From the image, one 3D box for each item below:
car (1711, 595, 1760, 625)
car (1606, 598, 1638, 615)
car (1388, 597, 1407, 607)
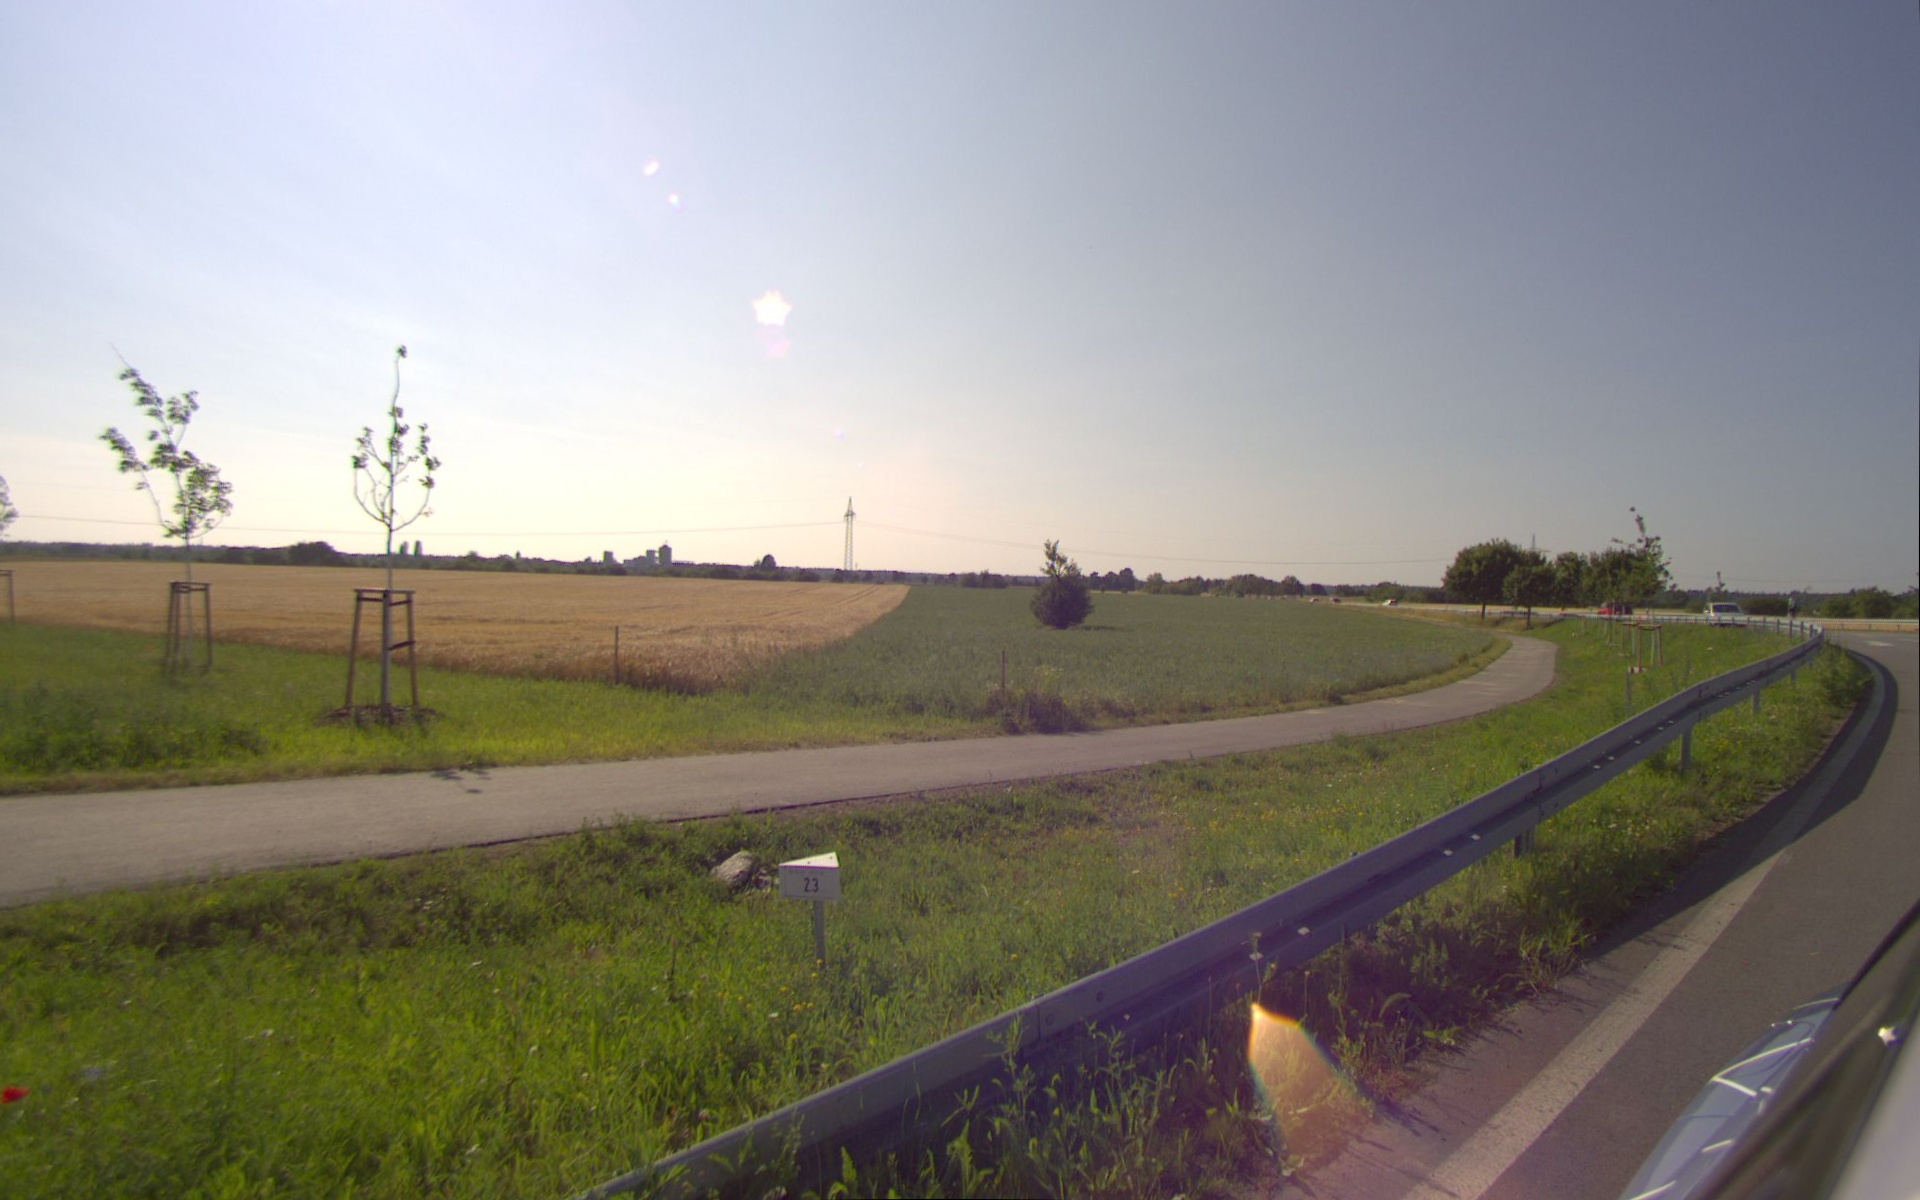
[{"bbox_3d":[46.879,0.563,61.253,1.741,1.716,4.170,-1,0,30],"label":"car"},{"bbox_3d":[67.306,0.668,102.944,1.791,1.694,3.977,0,0,18],"label":"car"},{"bbox_3d":[80.482,0.364,186.135,1.965,1.779,3.993,1,0,6],"label":"car"}]
